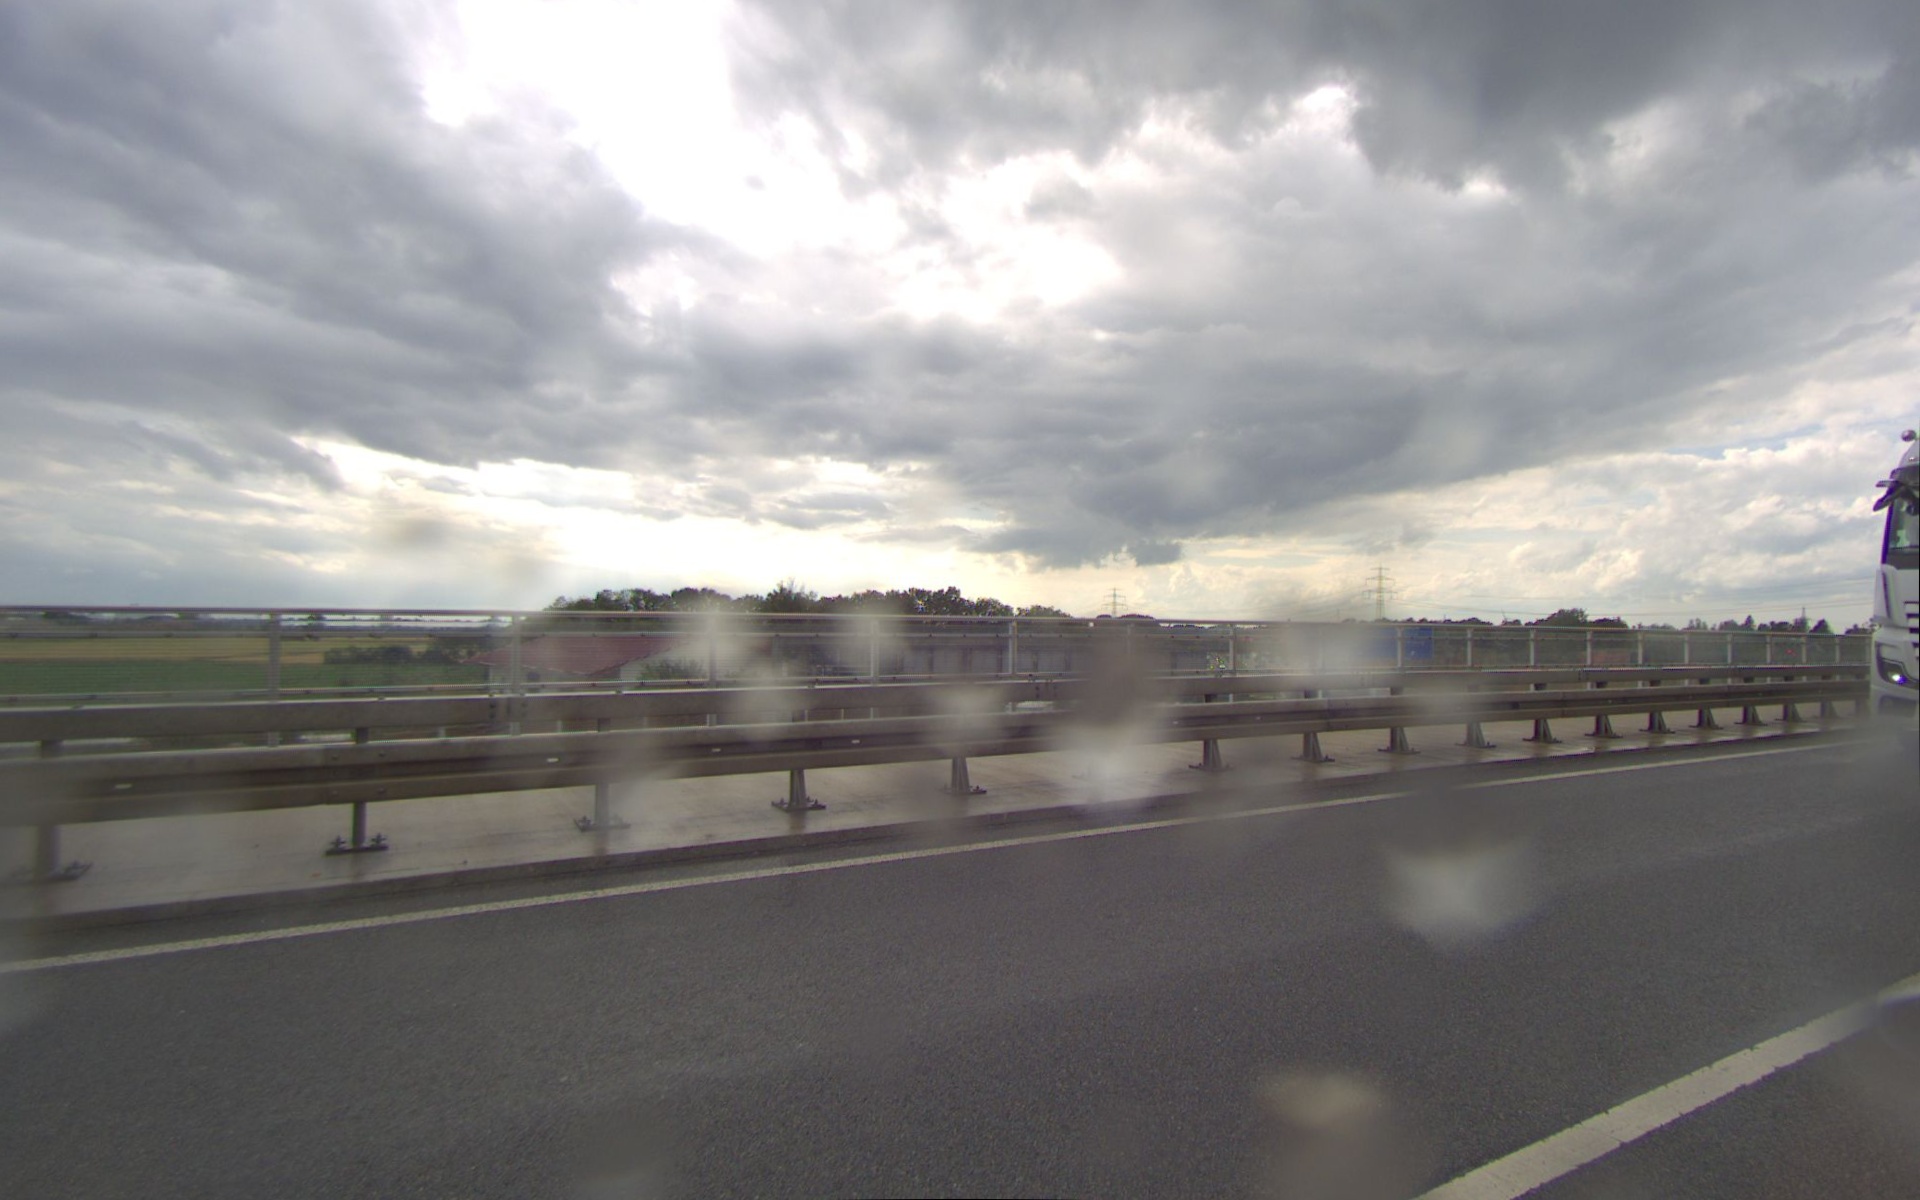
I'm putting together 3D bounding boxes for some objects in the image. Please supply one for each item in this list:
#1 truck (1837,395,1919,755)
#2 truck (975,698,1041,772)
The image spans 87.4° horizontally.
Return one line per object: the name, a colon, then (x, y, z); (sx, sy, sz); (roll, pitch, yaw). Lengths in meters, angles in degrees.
truck: (15.424, -0.175, 13.303); (9.936, 4.070, 2.670); (1, 0, -30)
truck: (3.777, 9.949, 75.579); (2.388, 4.055, 11.174); (2, 0, 16)
